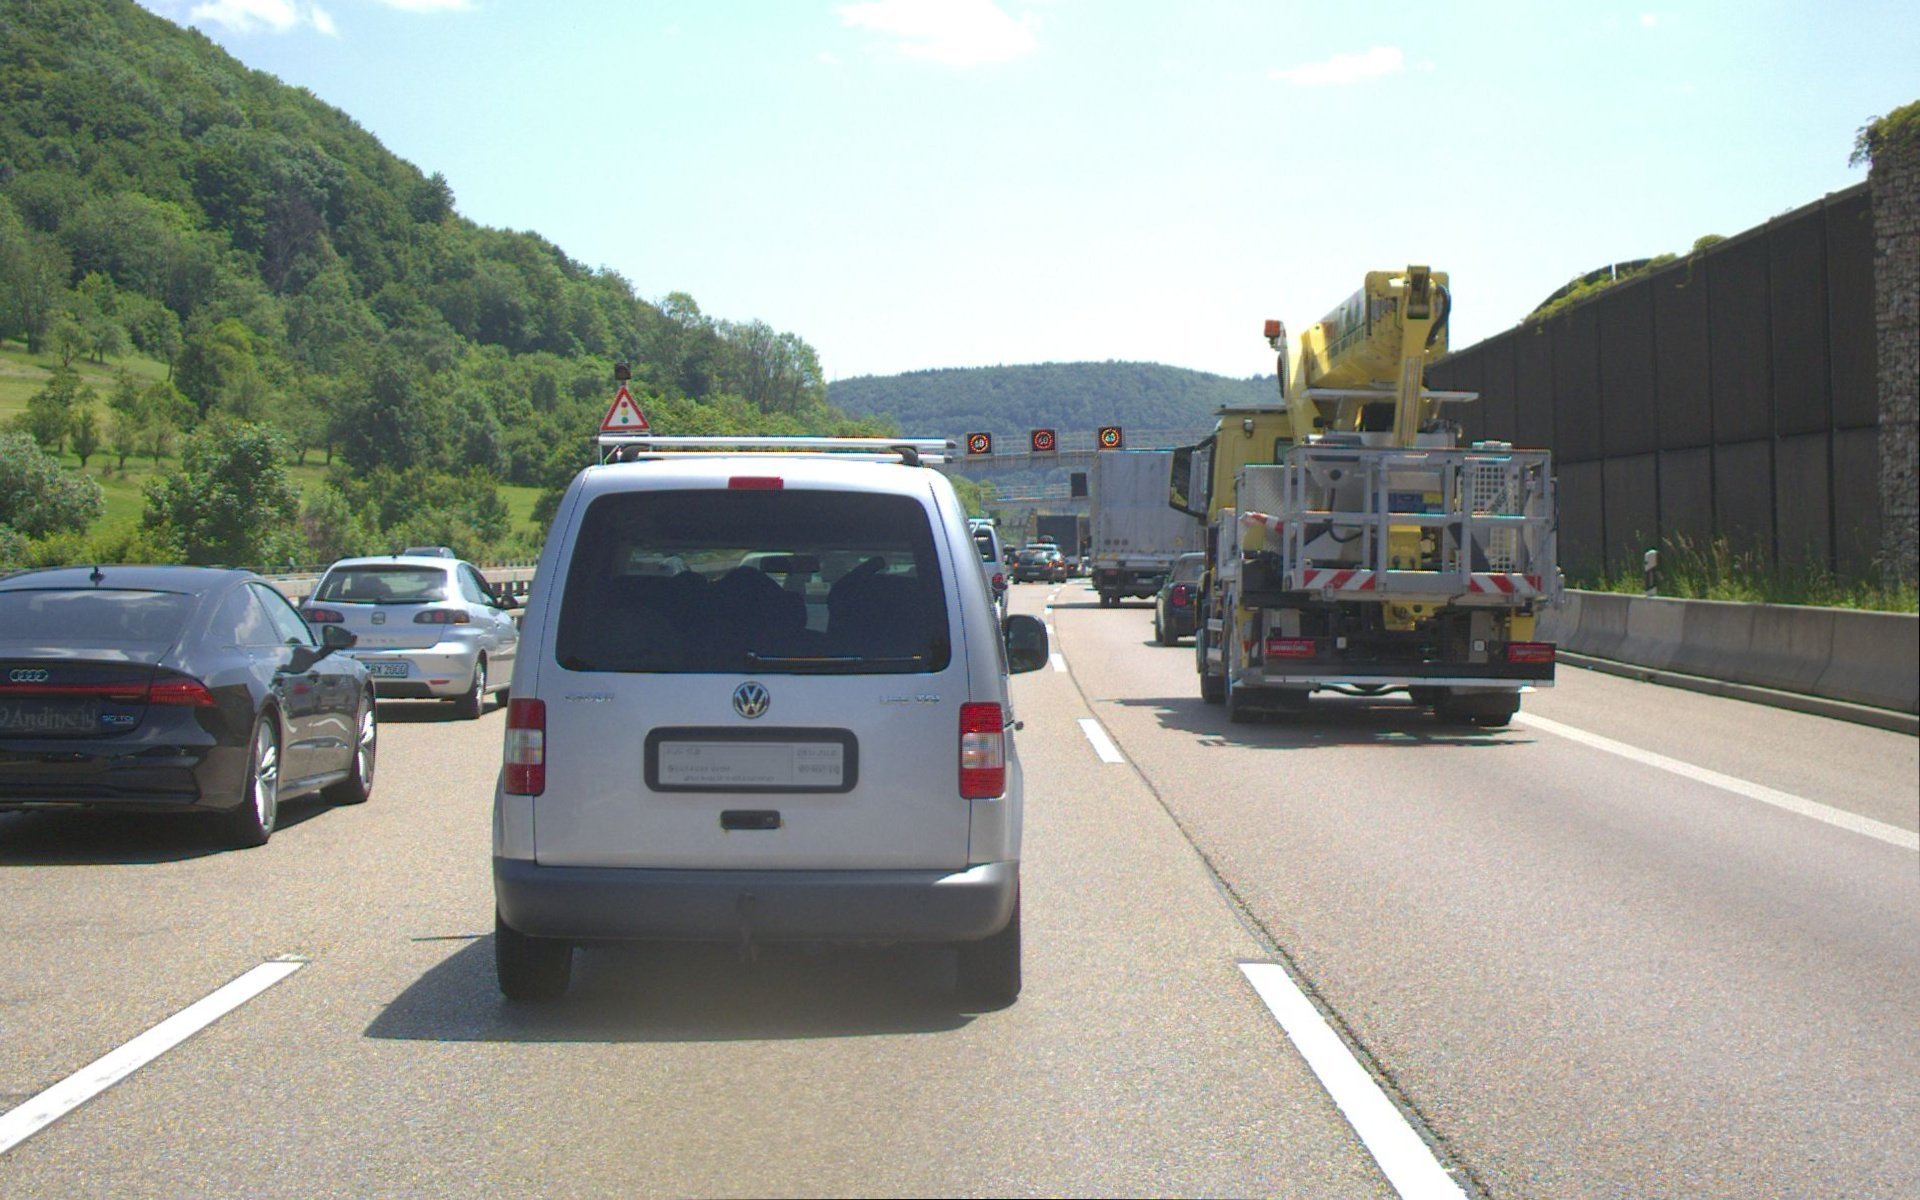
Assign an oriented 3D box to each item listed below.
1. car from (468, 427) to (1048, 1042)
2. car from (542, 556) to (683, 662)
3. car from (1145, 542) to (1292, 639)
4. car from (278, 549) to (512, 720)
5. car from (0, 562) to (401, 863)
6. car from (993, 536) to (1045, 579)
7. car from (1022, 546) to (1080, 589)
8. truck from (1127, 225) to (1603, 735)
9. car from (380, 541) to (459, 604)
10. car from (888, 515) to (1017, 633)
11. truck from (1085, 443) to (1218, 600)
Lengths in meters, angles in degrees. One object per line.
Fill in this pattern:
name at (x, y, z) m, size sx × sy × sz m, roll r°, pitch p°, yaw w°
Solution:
car at (-0.740, 0.374, 12.453) m, size 1.756 × 1.861 × 4.001 m, roll 0°, pitch 1°, yaw -4°
car at (-5.109, 0.102, 51.006) m, size 1.924 × 1.494 × 4.001 m, roll 1°, pitch 1°, yaw -4°
car at (4.012, -0.175, 53.909) m, size 1.786 × 1.453 × 3.771 m, roll 0°, pitch 1°, yaw -4°
car at (-5.063, 0.265, 31.219) m, size 1.695 × 1.440 × 3.862 m, roll 0°, pitch 1°, yaw -3°
car at (-4.331, 0.503, 18.632) m, size 1.800 × 1.385 × 4.969 m, roll 0°, pitch 1°, yaw 0°
car at (2.423, -1.749, 142.196) m, size 1.993 × 1.743 × 4.000 m, roll 1°, pitch 0°, yaw -1°
car at (3.989, -1.423, 151.263) m, size 2.114 × 1.821 × 4.001 m, roll 1°, pitch 0°, yaw -4°
truck at (3.352, -0.996, 30.937) m, size 2.703 × 3.929 × 8.723 m, roll 0°, pitch 1°, yaw -4°
car at (-17.528, -0.893, 111.732) m, size 1.993 × 2.007 × 4.000 m, roll 0°, pitch 1°, yaw -1°
car at (-0.168, -0.471, 59.722) m, size 1.993 × 1.969 × 4.001 m, roll 0°, pitch 1°, yaw -4°
truck at (4.854, -1.944, 88.414) m, size 2.940 × 3.810 × 8.237 m, roll 1°, pitch 0°, yaw 0°
